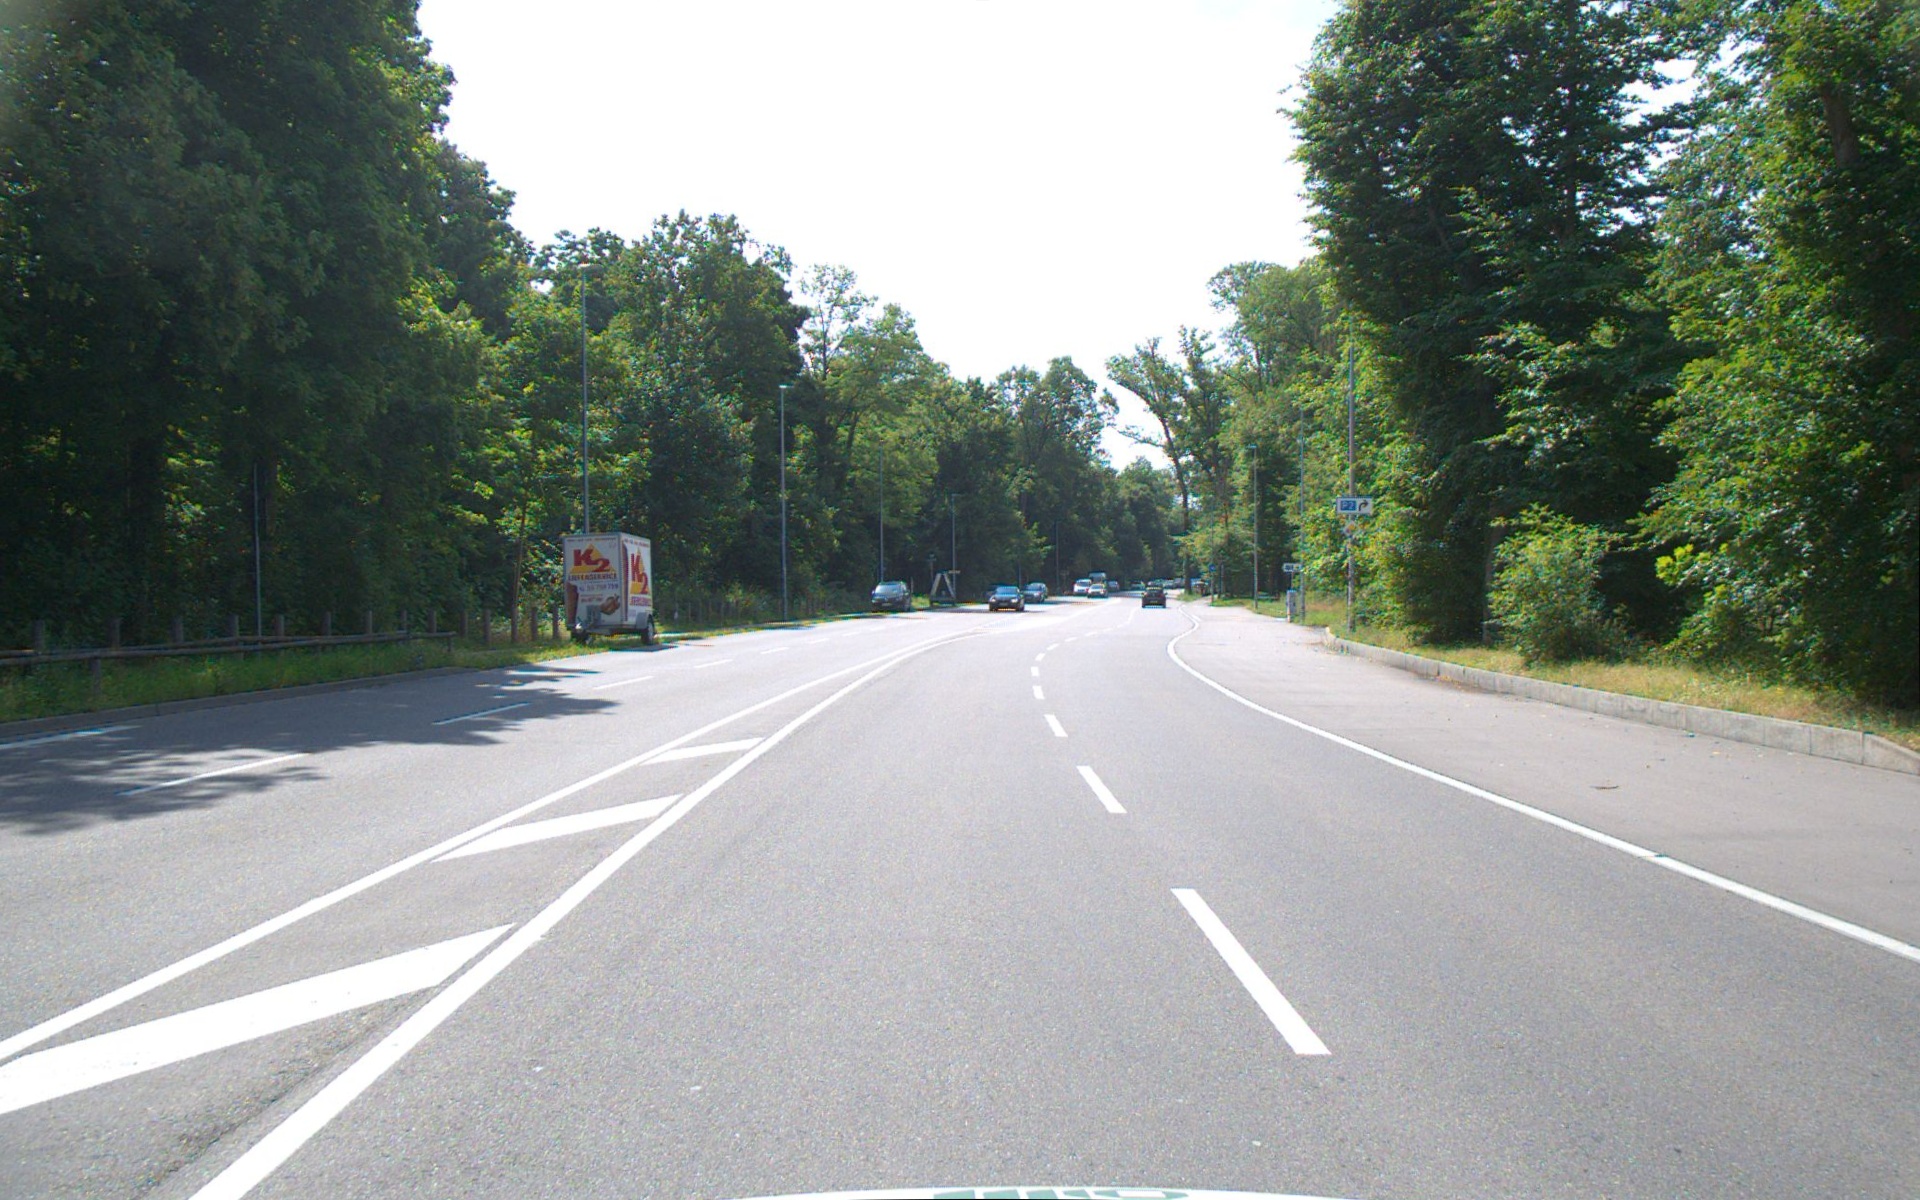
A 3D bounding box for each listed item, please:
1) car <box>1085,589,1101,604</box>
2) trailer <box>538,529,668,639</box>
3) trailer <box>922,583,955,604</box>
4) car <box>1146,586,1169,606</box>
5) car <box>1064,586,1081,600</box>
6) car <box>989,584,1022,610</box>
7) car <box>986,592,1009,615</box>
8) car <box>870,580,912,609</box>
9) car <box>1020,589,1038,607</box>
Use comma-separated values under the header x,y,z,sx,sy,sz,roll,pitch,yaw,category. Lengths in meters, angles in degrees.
x,y,z,sx,sy,sz,roll,pitch,yaw,category
13.473,-0.382,167.612,1.471,1.472,3.532,0,0,7,car
-8.277,-0.377,38.719,1.952,2.430,4.002,0,0,3,trailer
-1.395,-0.420,109.062,1.680,1.378,3.735,0,0,8,trailer
14.196,-0.280,118.726,1.563,1.402,3.979,0,0,8,car
11.981,-0.797,175.897,1.471,1.472,3.532,0,0,8,car
2.649,-0.188,95.818,1.471,1.472,3.532,0,0,9,car
3.096,0.246,138.049,1.882,1.887,4.001,0,0,1,car
-3.607,-0.287,87.308,1.471,1.472,3.532,0,0,10,car
5.756,-0.180,137.496,1.472,1.472,3.530,0,0,2,car
